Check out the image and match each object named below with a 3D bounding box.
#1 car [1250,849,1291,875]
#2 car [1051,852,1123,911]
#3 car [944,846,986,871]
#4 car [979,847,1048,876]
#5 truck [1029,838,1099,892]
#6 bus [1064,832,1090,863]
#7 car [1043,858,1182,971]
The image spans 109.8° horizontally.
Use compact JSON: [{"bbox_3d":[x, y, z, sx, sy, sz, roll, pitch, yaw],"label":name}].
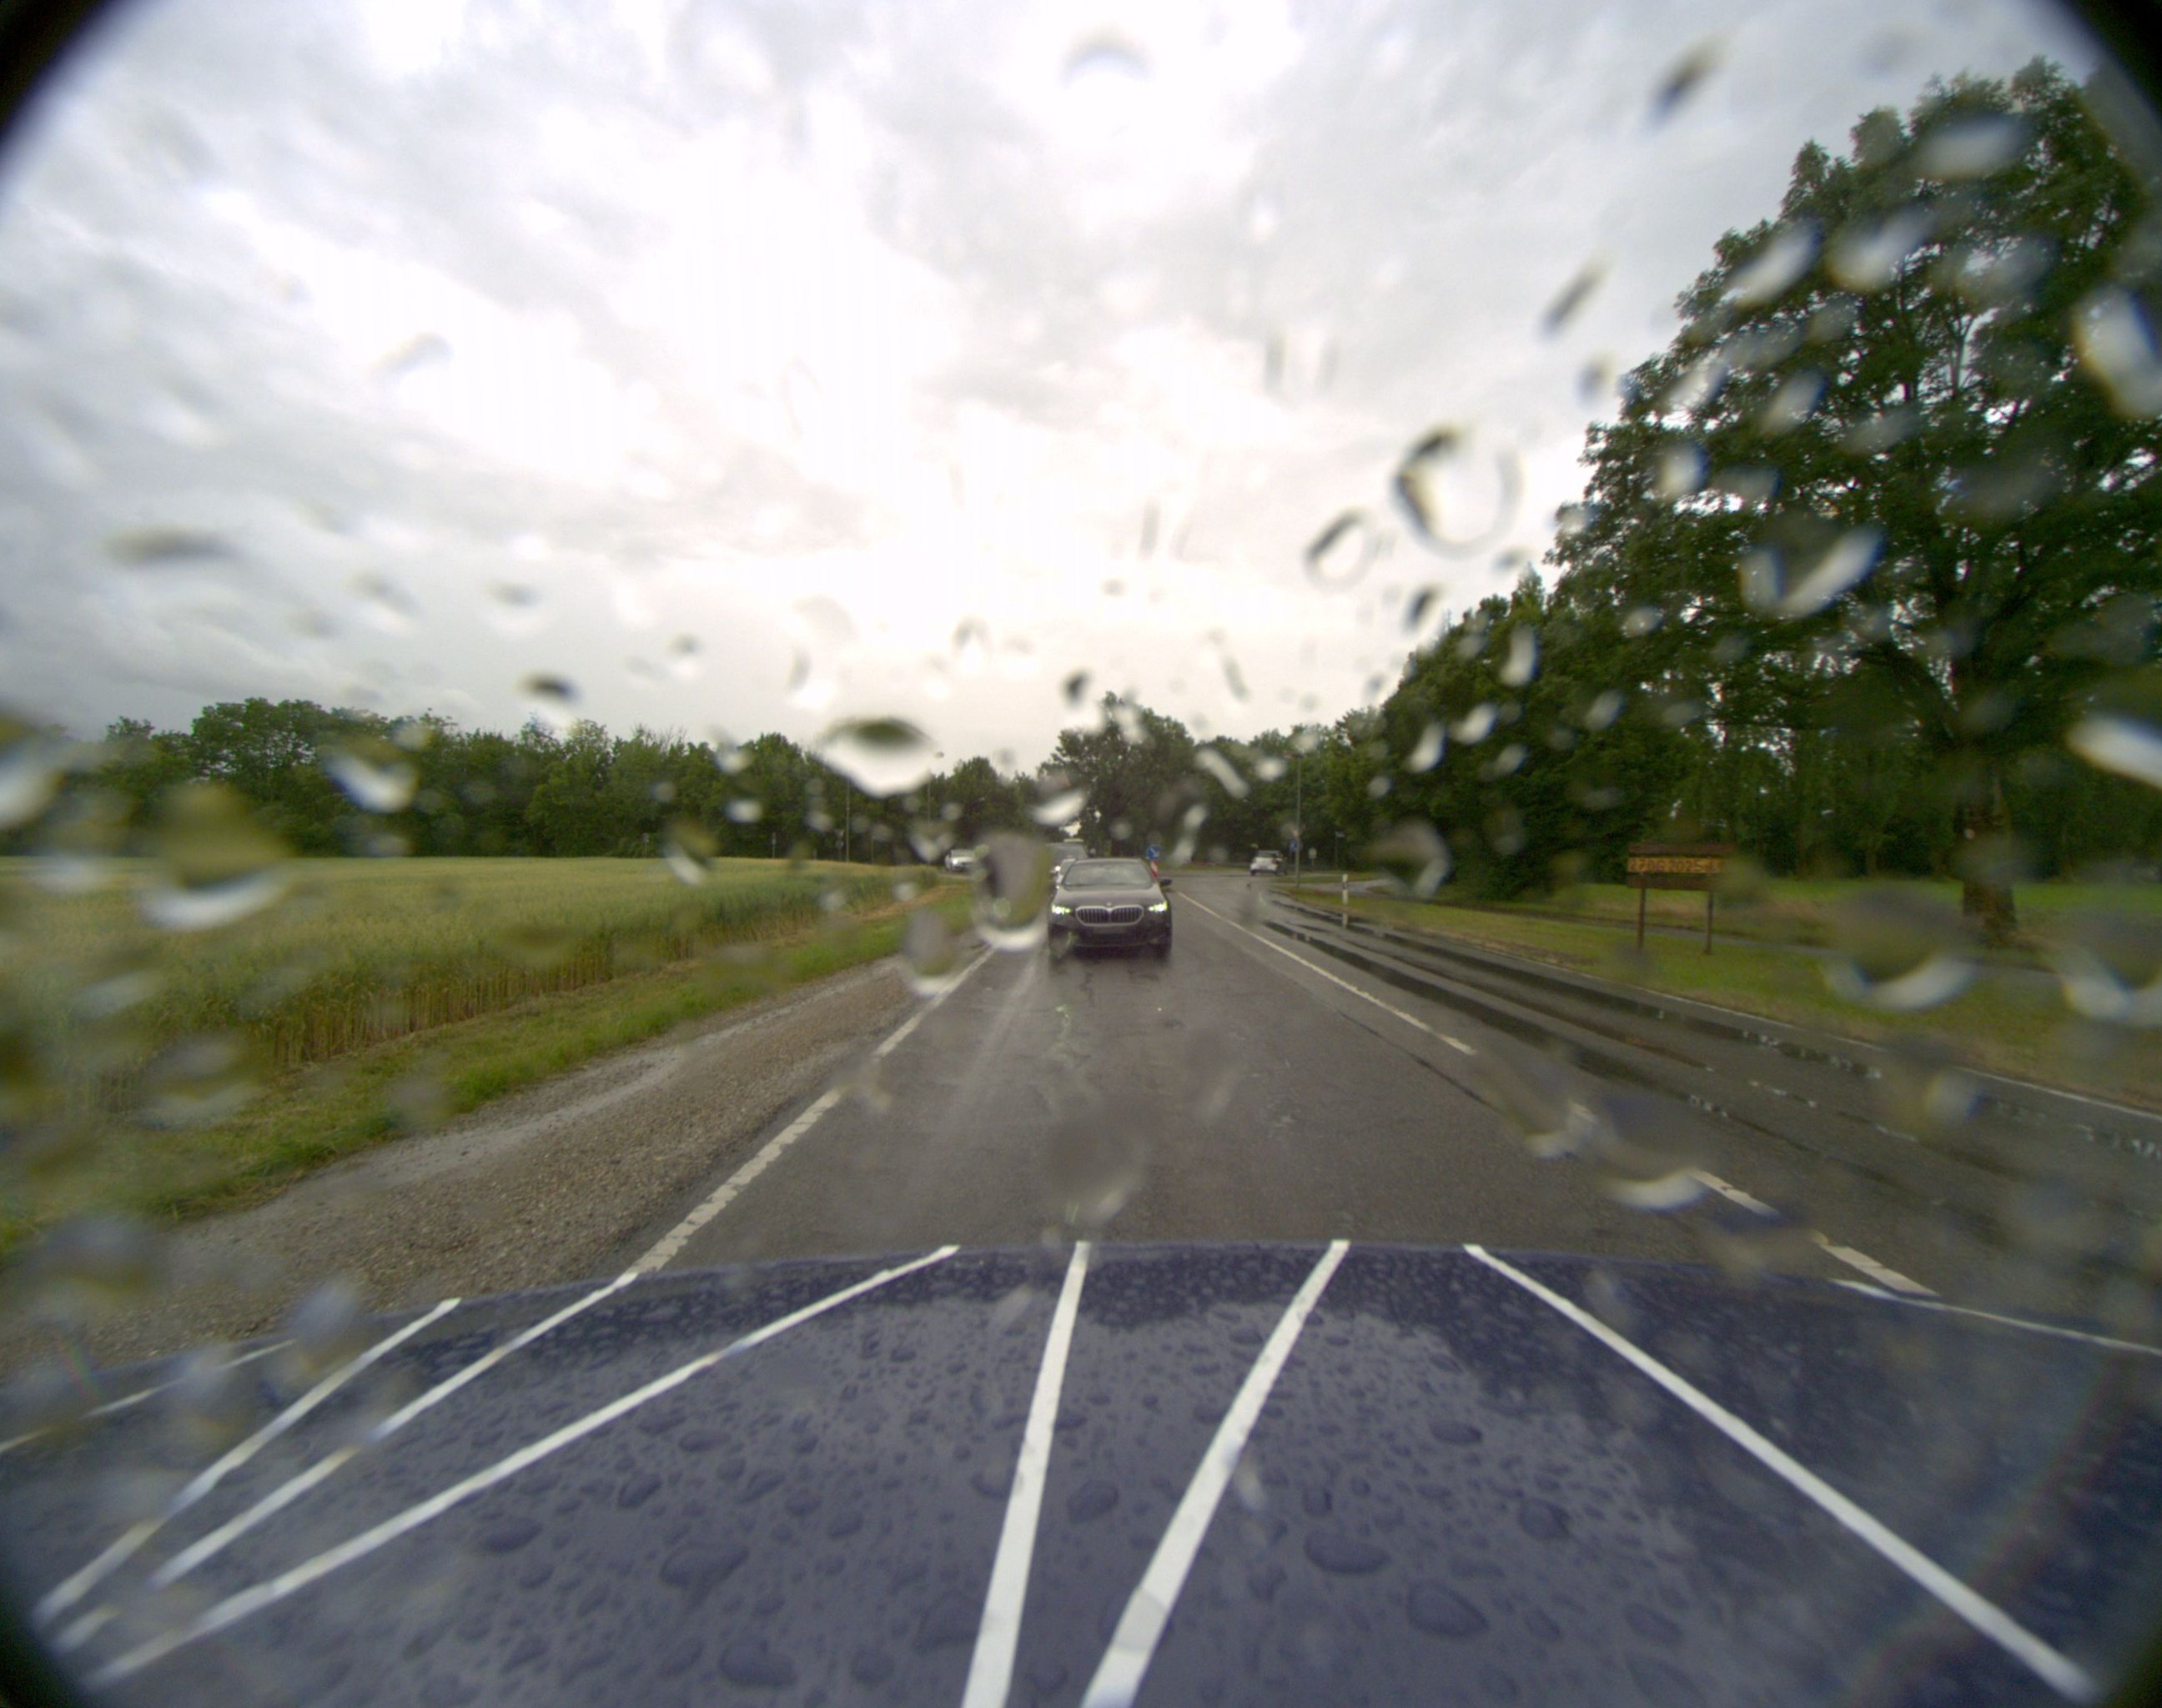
[{"bbox_3d":[11.740,0.485,46.867,1.677,1.490,3.741,1,1,26],"label":"car"},{"bbox_3d":[0.088,0.730,22.528,1.892,1.482,4.190,-1,1,-2],"label":"car"},{"bbox_3d":[-7.635,0.254,49.788,1.895,1.522,4.494,-1,0,-19],"label":"car"},{"bbox_3d":[-3.933,0.400,43.337,1.896,1.522,5.243,-1,0,-30],"label":"car"},{"bbox_3d":[-0.862,0.394,33.503,2.077,2.050,5.762,-2,2,-11],"label":"truck"},{"bbox_3d":[-0.404,-0.853,98.119,2.996,3.665,14.294,1,0,1],"label":"bus"},{"bbox_3d":[0.434,0.846,12.490,1.892,1.484,4.035,-1,0,0],"label":"car"}]
